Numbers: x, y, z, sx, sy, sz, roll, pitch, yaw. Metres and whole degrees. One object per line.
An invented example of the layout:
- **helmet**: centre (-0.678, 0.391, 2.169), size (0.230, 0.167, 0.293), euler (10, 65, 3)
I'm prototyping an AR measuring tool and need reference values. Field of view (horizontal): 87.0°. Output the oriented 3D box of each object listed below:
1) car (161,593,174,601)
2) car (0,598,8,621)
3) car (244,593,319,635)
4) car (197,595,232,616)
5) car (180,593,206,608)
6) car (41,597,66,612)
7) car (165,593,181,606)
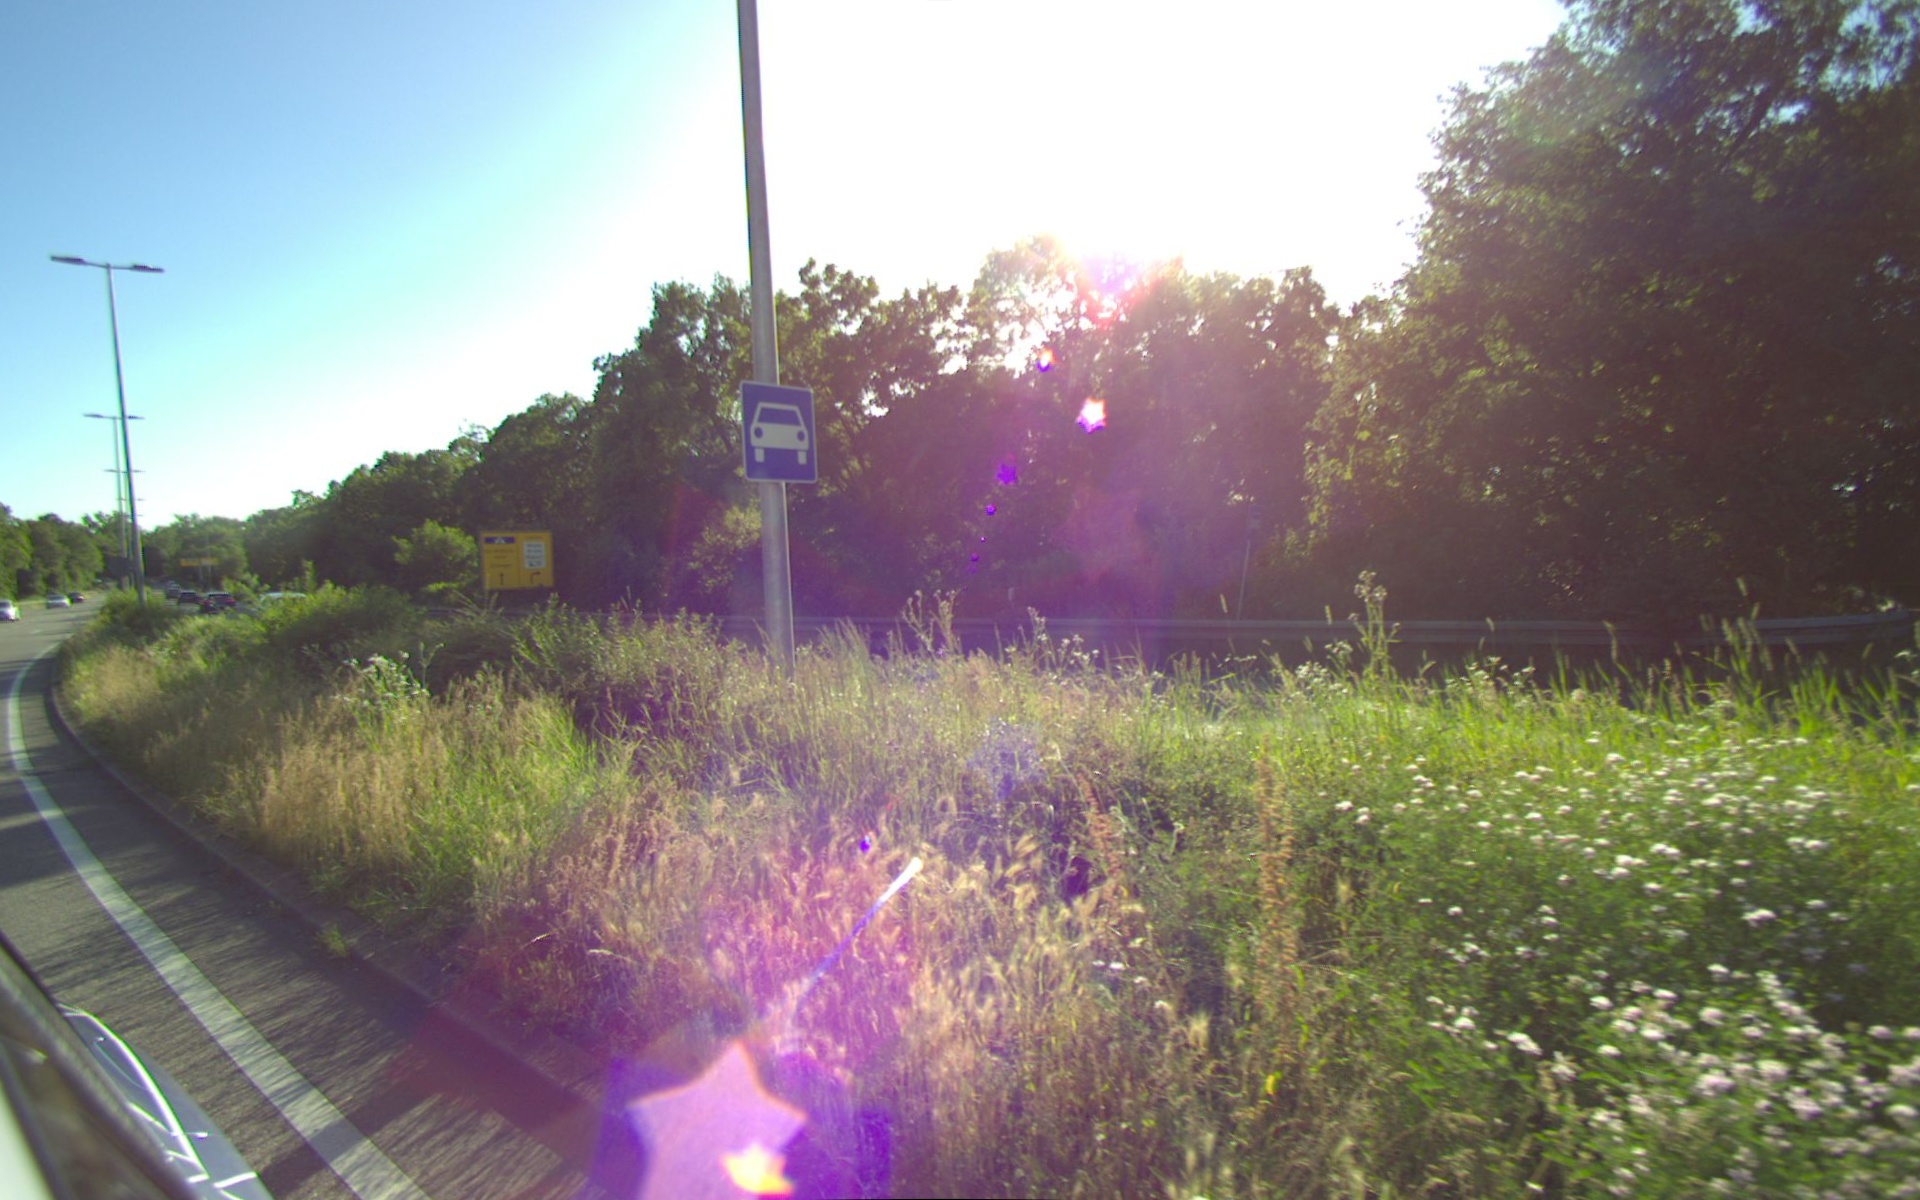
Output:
- **car**: centre (-141.590, -0.509, 180.761), size (1.751, 1.366, 4.470), euler (-4, 3, -39)
- **car**: centre (-64.003, 0.686, 66.672), size (1.657, 1.497, 3.396), euler (-3, 2, -40)
- **car**: centre (-27.269, 0.550, 40.642), size (1.863, 1.532, 4.221), euler (-3, 1, -42)
- **car**: centre (-52.205, 0.373, 70.872), size (1.861, 1.431, 4.373), euler (-1, 1, -38)
- **car**: centre (-77.598, 0.053, 102.357), size (1.783, 1.427, 4.538), euler (-2, 2, -41)
- **car**: centre (-99.732, 0.509, 111.373), size (1.882, 1.497, 3.350), euler (-3, 2, -40)
- **car**: centre (-110.998, -0.007, 142.725), size (1.666, 1.700, 3.629), euler (-3, 2, -39)
